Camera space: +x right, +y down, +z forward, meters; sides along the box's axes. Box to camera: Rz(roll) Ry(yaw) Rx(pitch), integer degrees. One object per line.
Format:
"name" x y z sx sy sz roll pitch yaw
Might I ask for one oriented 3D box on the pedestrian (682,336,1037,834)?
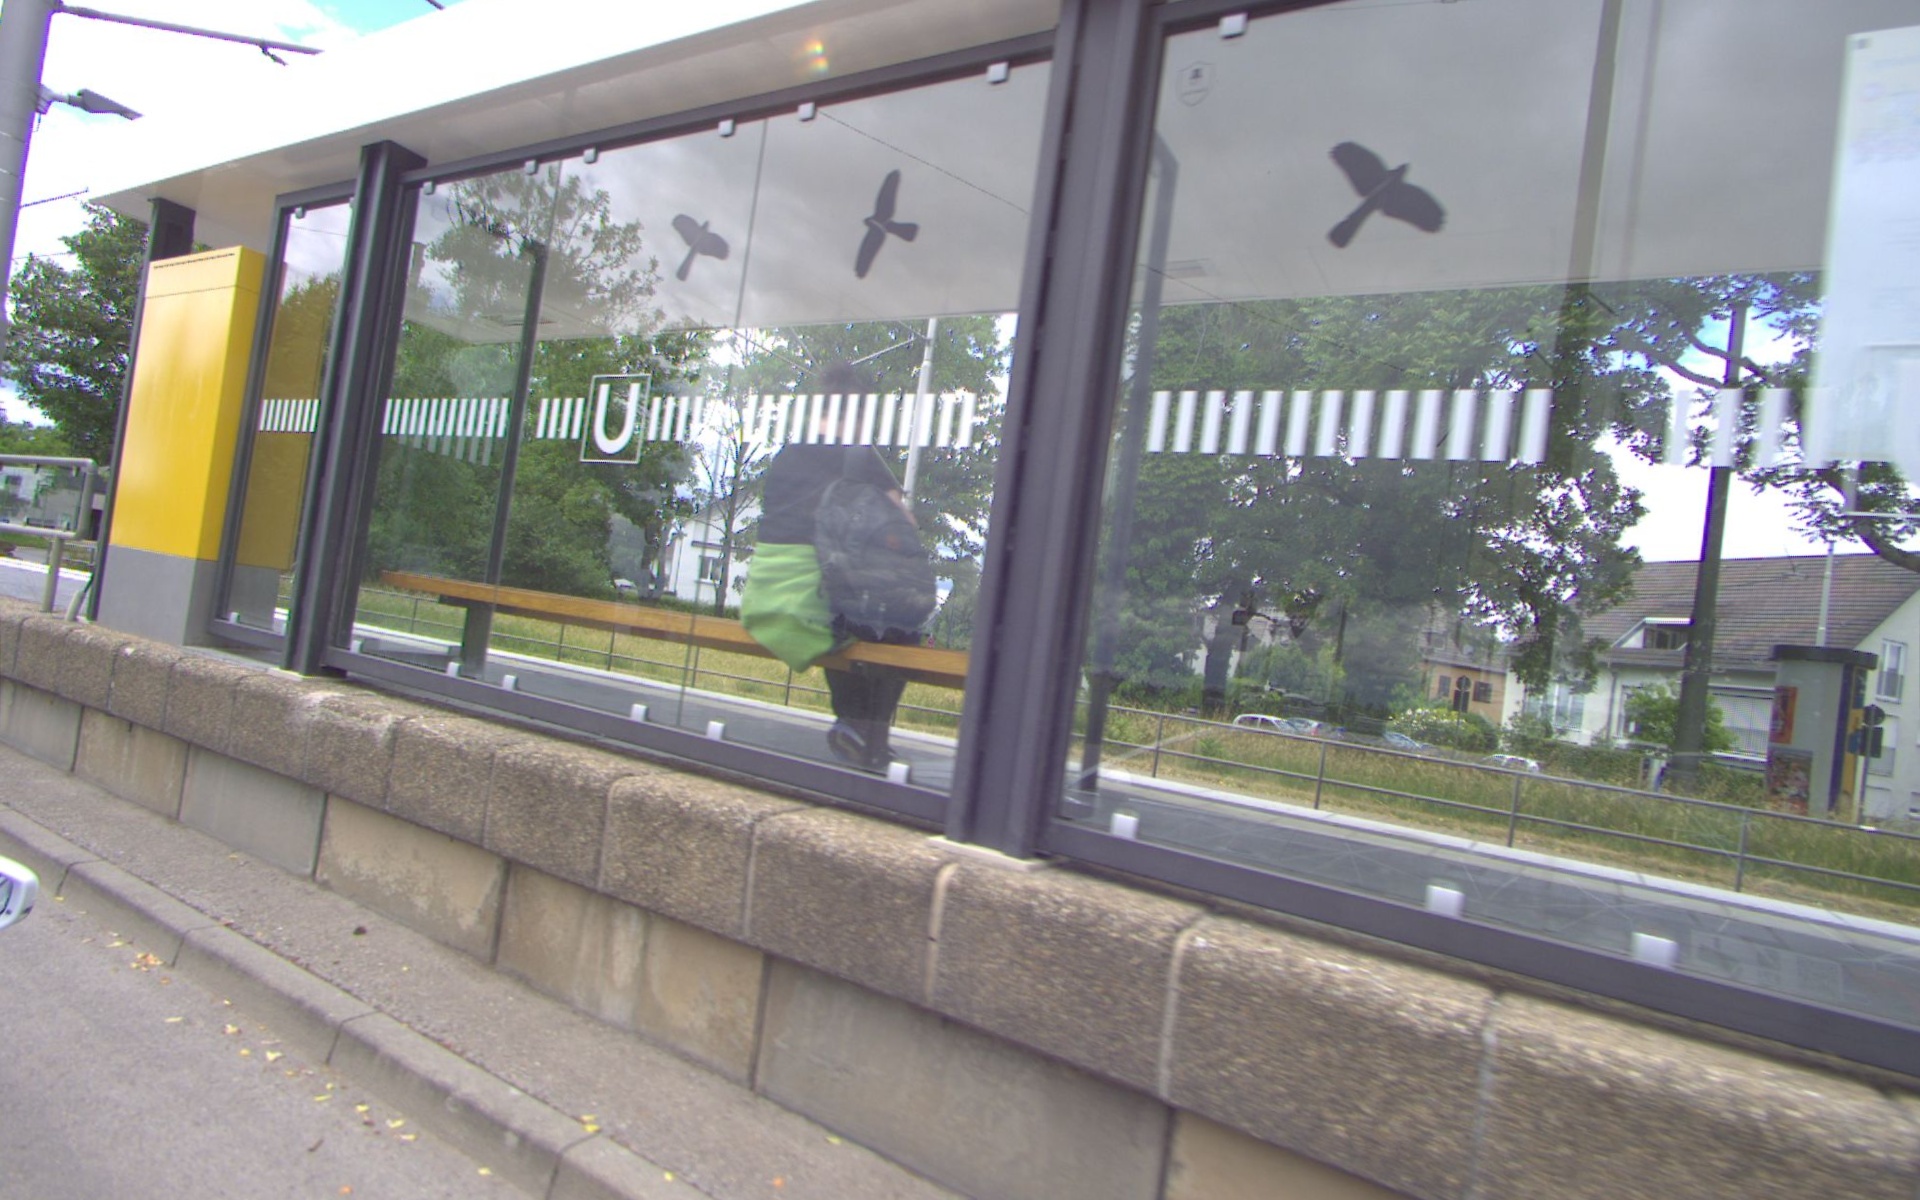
"pedestrian" -0.316 -0.053 3.311 0.752 1.421 0.639 8 0 31
